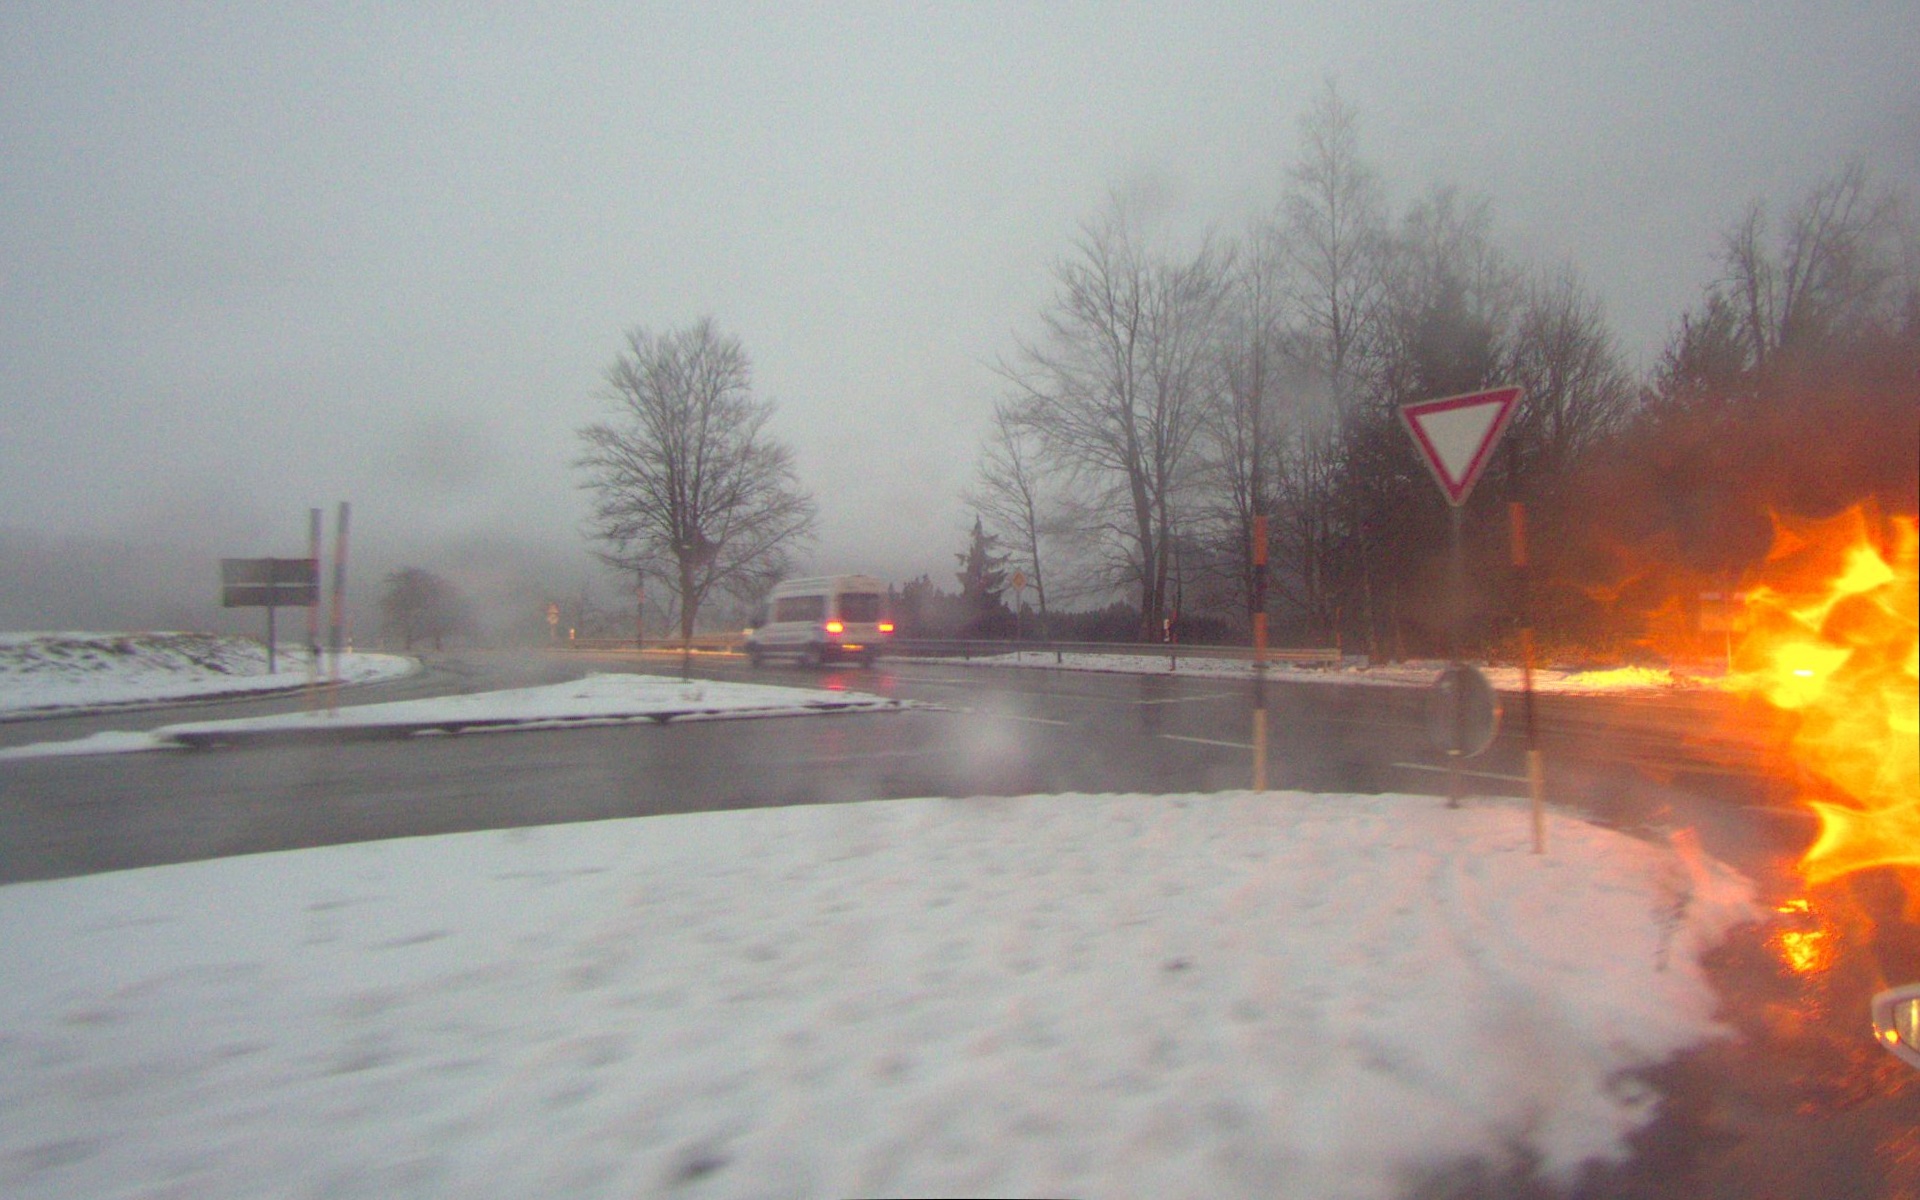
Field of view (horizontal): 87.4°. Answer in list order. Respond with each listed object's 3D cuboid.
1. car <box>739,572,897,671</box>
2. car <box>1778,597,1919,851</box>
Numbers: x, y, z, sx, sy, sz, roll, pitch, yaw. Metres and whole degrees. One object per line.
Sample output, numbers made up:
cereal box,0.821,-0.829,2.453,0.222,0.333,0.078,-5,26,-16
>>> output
car,-4.454,0.581,30.747,2.136,2.731,5.464,3,0,-40
car,7.446,0.802,7.231,1.667,1.573,3.850,1,0,28
